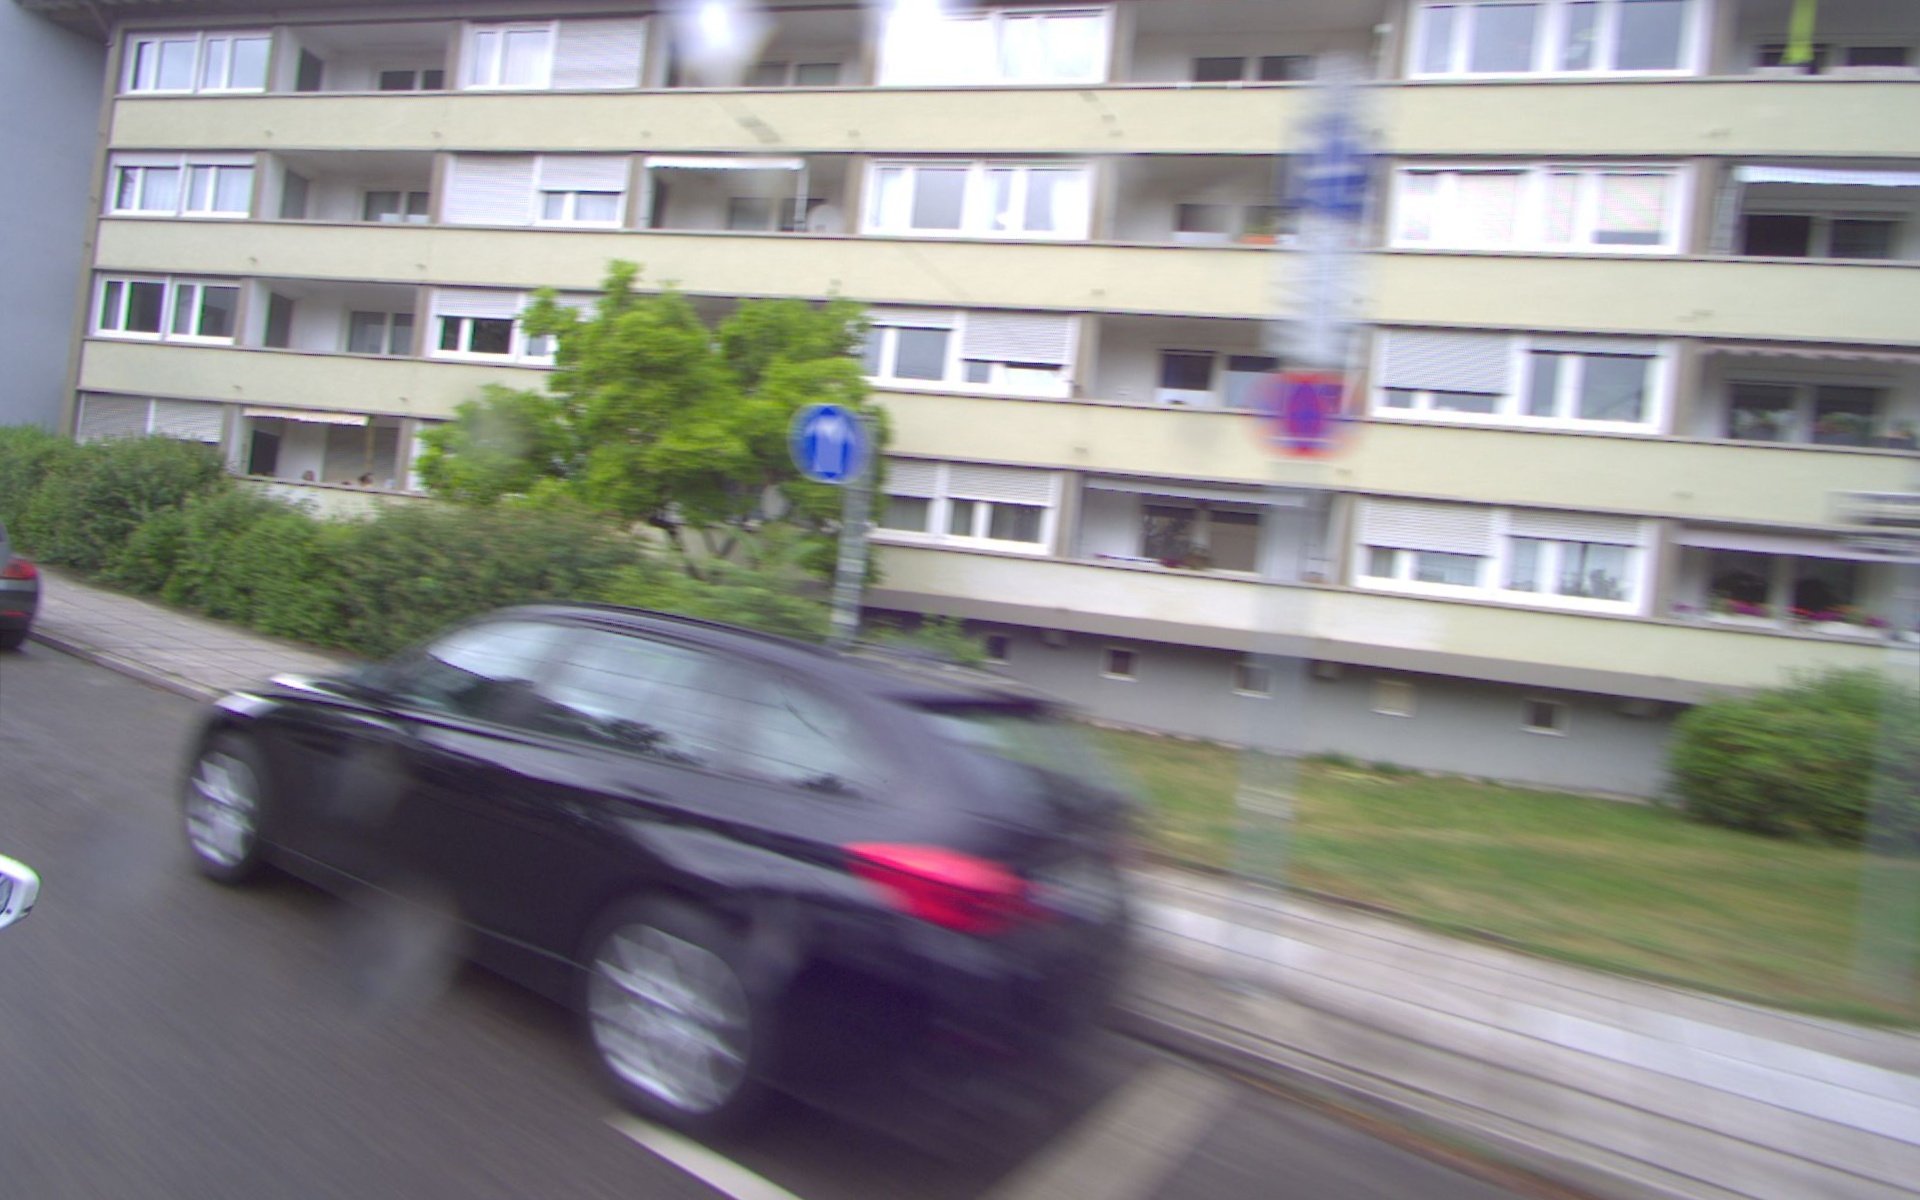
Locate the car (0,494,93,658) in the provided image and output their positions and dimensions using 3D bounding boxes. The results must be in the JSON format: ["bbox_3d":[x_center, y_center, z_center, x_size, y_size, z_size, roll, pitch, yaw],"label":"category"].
[{"bbox_3d":[-10.857,-0.474,10.066,4.135,1.481,1.945,7,-2,30],"label":"car"}]

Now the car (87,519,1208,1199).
[{"bbox_3d":[-1.531,0.691,4.293,4.567,1.504,1.862,7,-2,31],"label":"car"}]
